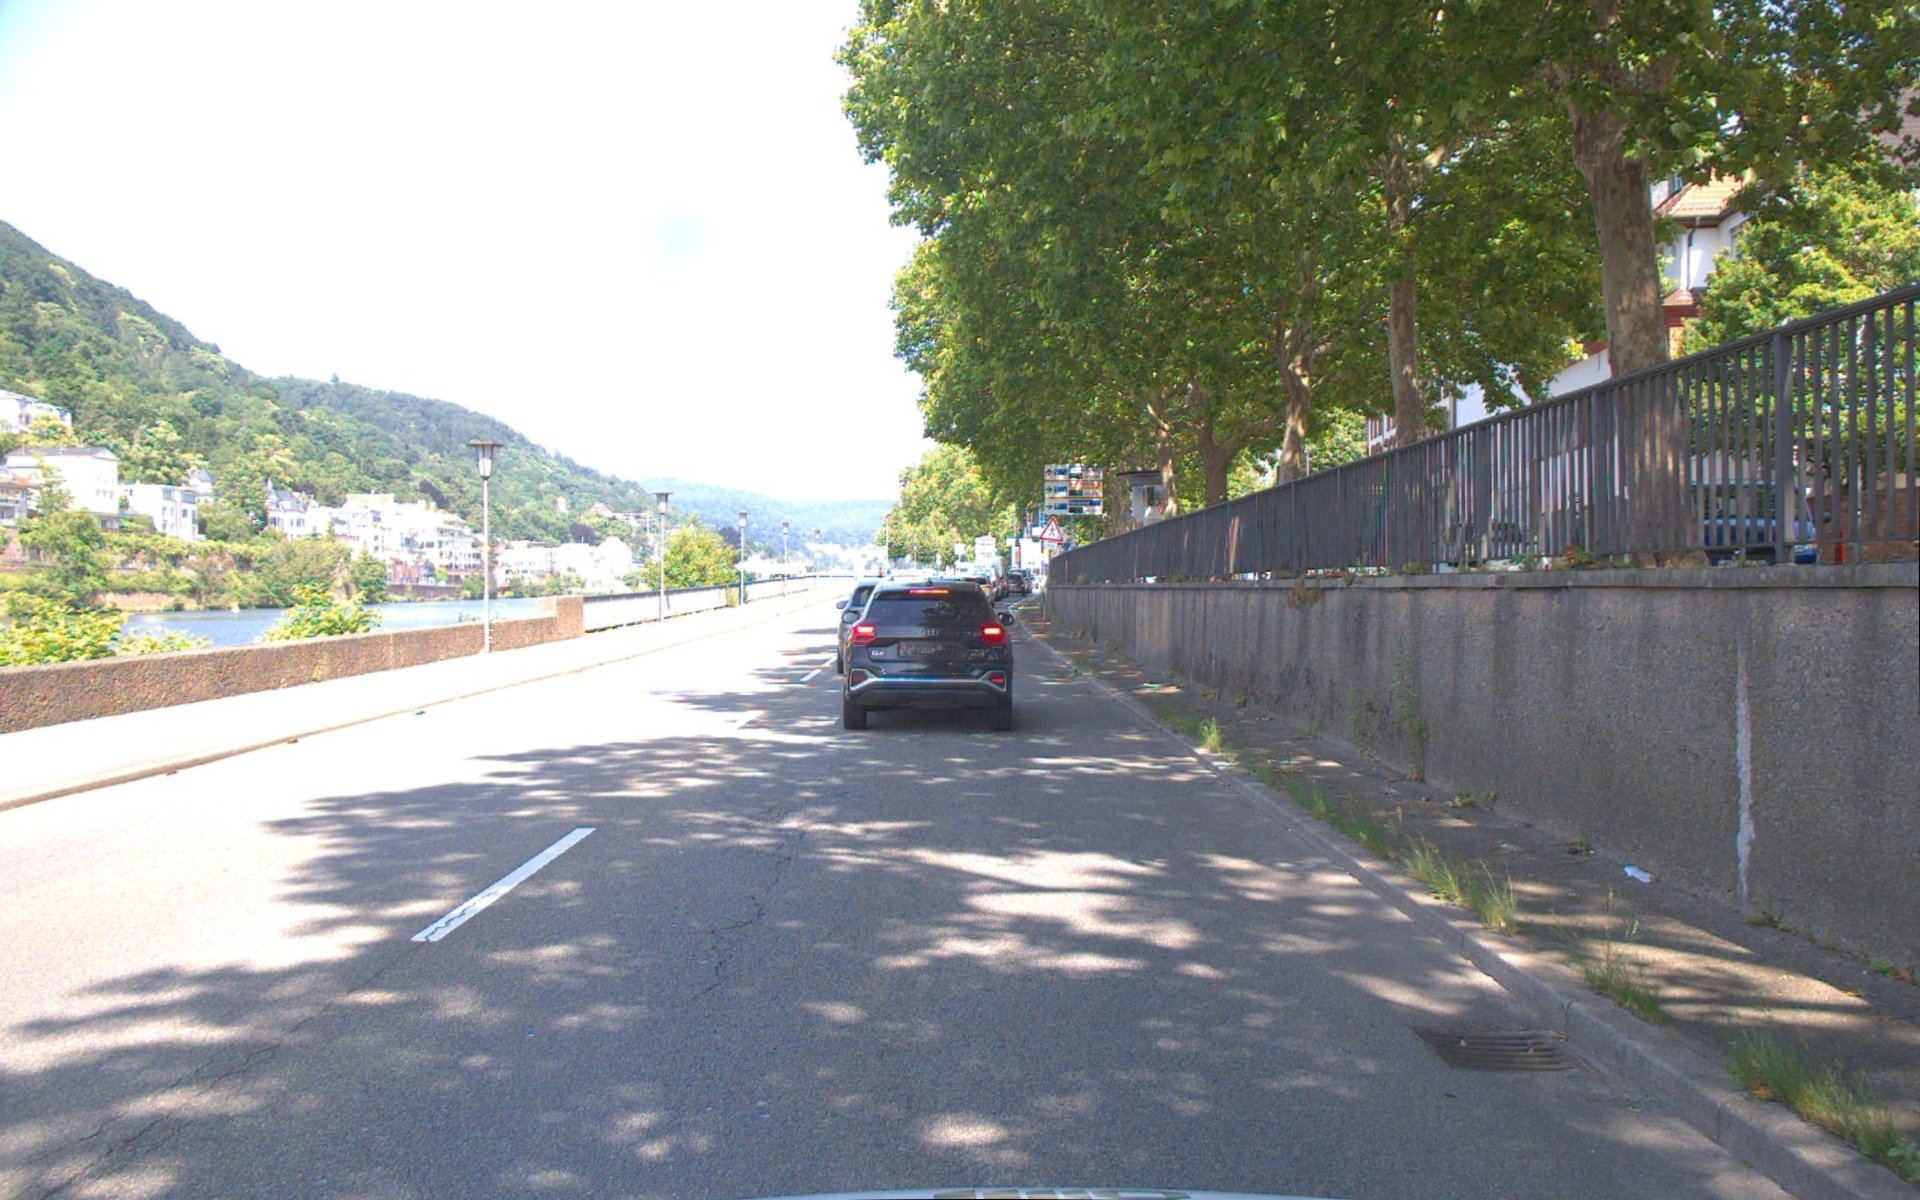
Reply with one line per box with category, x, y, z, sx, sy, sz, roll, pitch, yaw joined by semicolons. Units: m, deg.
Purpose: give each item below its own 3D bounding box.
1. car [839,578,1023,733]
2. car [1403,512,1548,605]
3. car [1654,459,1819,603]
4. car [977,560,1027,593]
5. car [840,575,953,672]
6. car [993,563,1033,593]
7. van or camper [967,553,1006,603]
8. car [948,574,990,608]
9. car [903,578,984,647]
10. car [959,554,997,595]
car;-0.327;0.521;18.289;1.791;1.512;3.999;1;1;-1
car;9.069;-0.701;28.895;1.740;1.495;3.995;1;1;27
car;9.174;-0.739;19.638;1.616;1.526;3.815;0;0;24
car;2.832;-1.611;113.060;3.036;2.048;5.823;-3;1;-1
car;-1.056;0.356;28.508;1.791;1.537;3.999;1;1;-1
car;3.911;-1.608;123.093;2.608;2.048;5.823;-3;1;-1
van or camper;1.636;-1.357;102.152;2.262;2.897;4.246;-2;0;1
car;0.381;-0.427;76.298;1.791;1.469;3.999;1;1;-1
car;-0.412;0.254;39.091;1.791;1.512;3.999;1;1;-1
car;0.982;-1.422;93.181;1.953;2.207;3.999;-3;0;-1
